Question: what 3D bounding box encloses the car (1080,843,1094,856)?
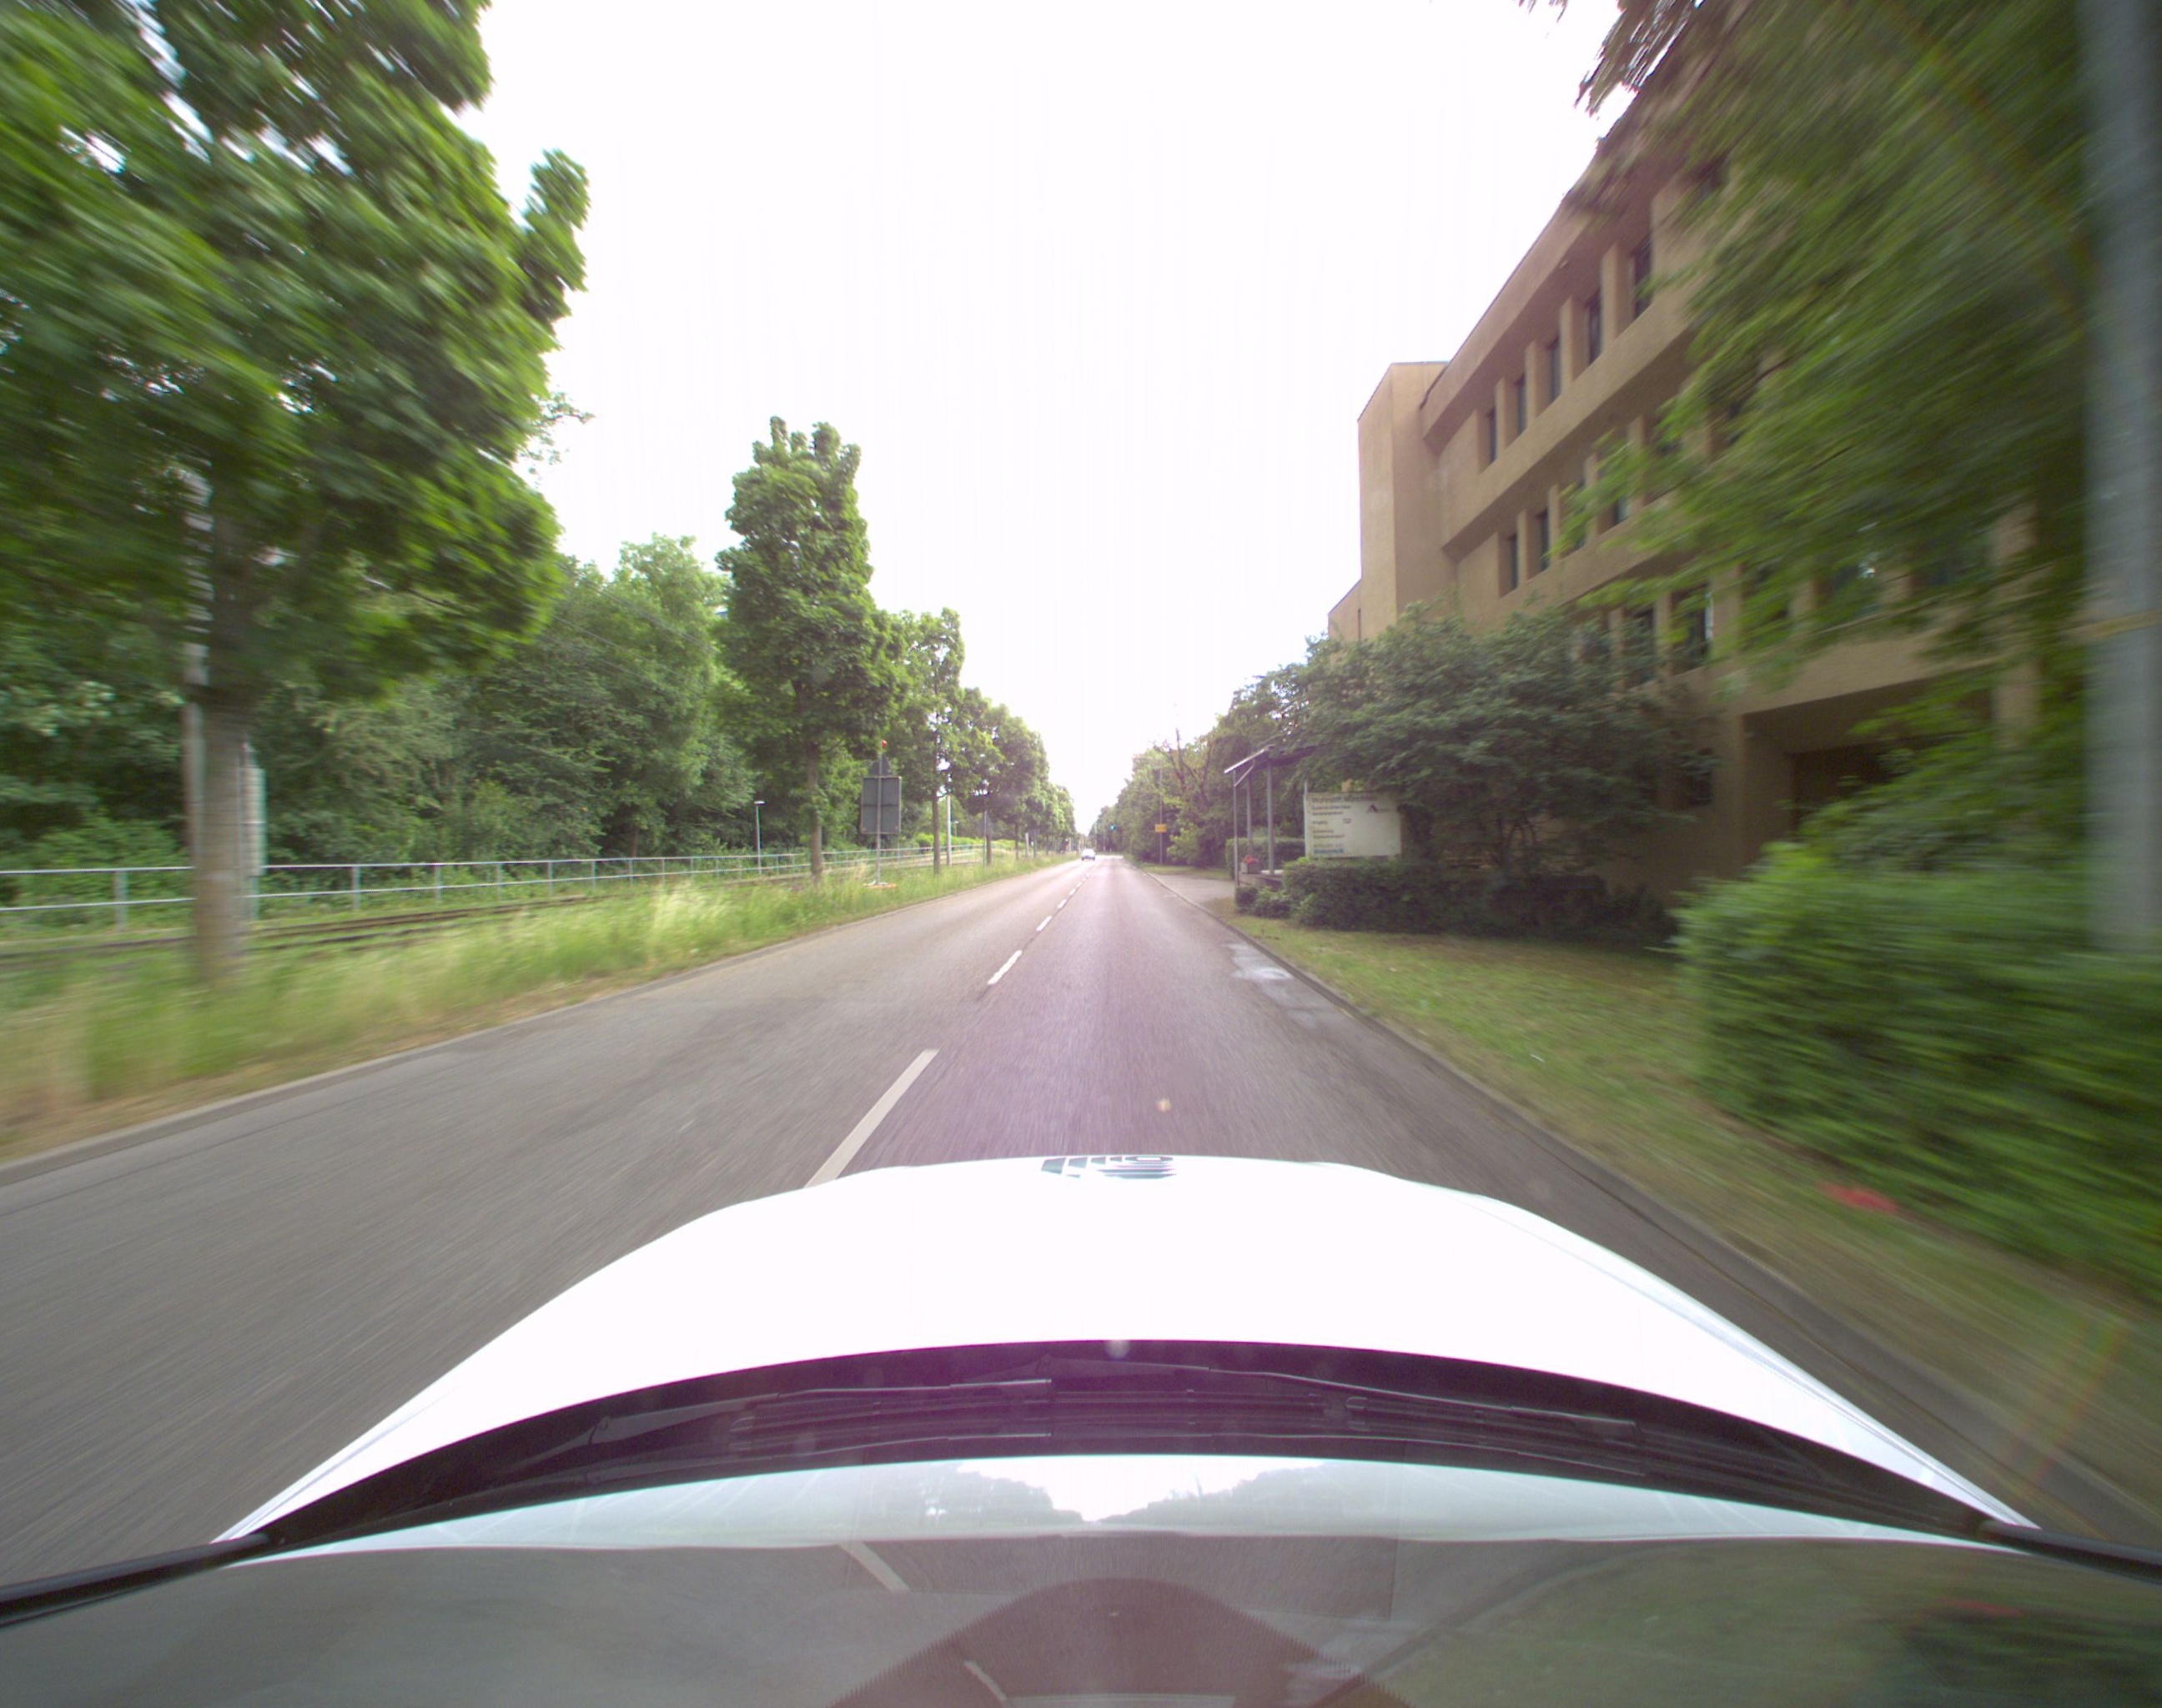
[{"bbox_3d":[0.806,-0.615,109.822,1.709,1.629,4.003,1,1,2],"label":"car"}]
